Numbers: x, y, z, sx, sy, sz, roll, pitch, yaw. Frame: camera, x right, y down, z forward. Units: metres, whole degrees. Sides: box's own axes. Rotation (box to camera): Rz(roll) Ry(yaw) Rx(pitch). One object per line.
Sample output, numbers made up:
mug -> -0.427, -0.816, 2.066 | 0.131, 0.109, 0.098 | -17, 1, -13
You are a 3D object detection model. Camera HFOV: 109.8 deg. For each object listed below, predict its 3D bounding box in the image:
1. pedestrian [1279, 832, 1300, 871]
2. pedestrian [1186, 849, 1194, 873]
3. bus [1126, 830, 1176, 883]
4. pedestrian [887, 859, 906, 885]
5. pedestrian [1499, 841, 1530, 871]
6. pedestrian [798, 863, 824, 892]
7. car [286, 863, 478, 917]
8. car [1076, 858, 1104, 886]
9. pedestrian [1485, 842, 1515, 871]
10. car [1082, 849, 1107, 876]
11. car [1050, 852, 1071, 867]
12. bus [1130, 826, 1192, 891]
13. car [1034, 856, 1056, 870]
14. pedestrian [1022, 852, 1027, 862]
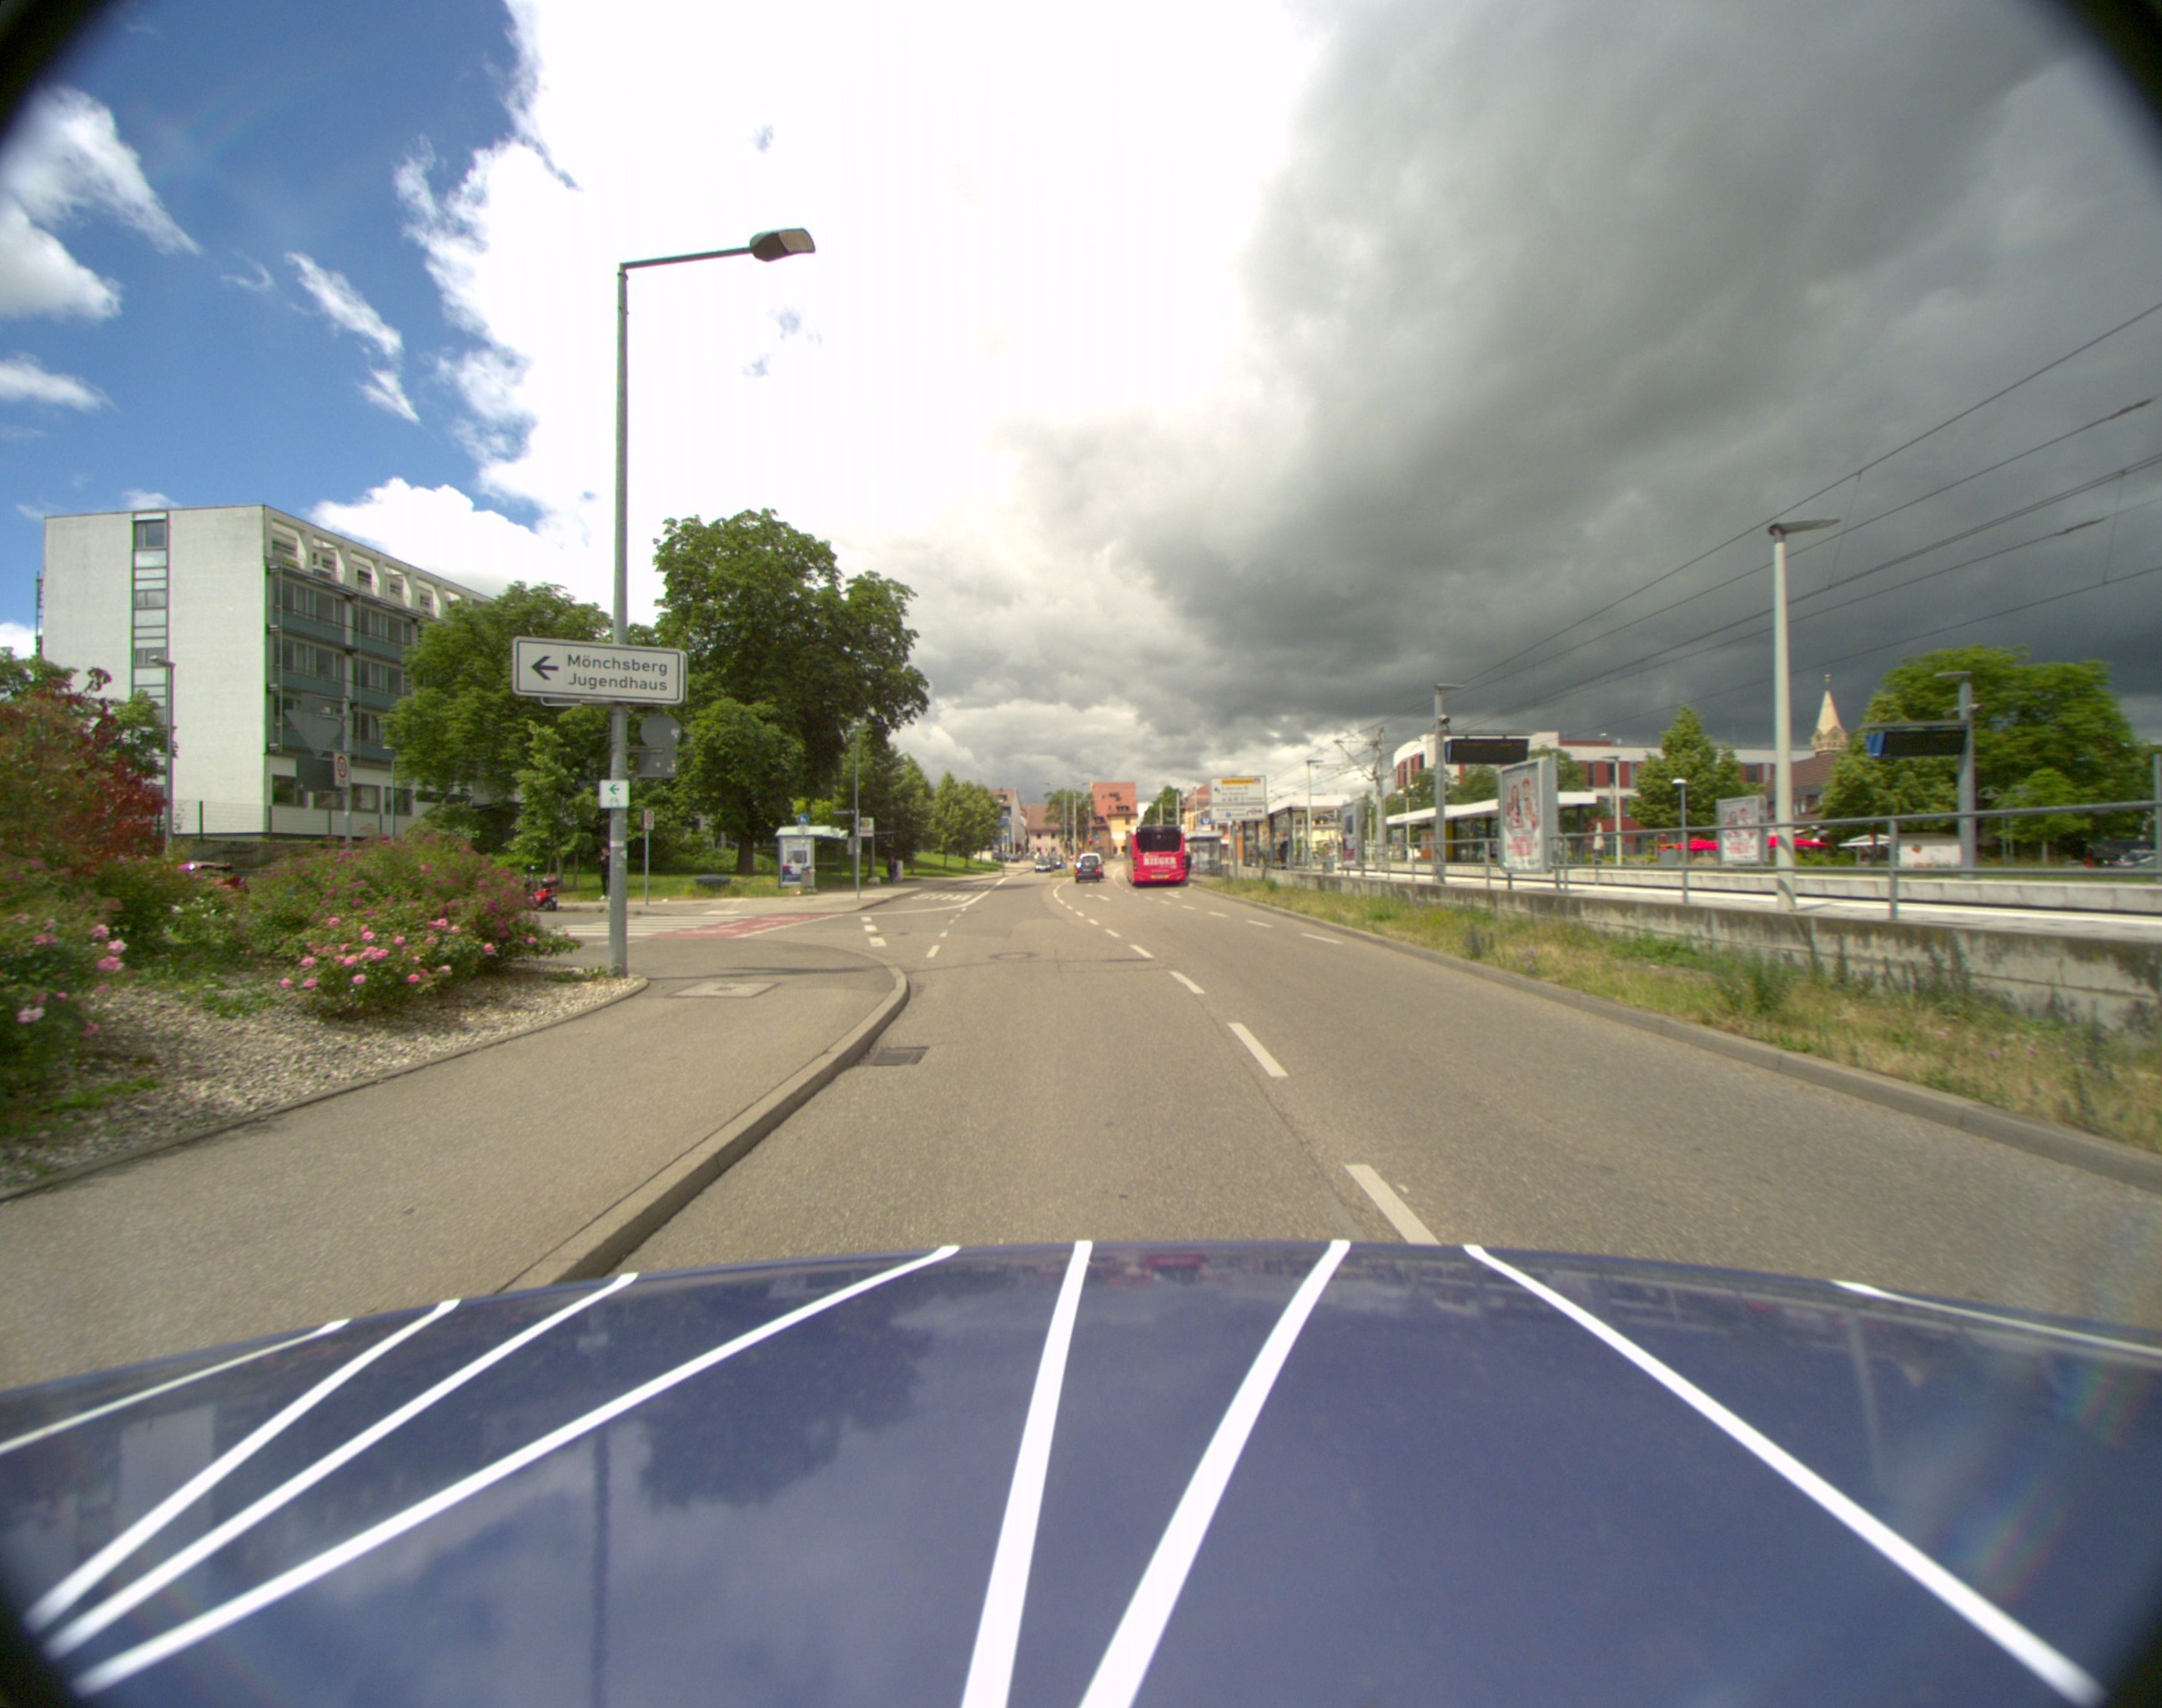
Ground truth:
pedestrian -> 9.130, -0.103, 33.308 | 0.689, 1.646, 0.701 | -1, -1, 2
pedestrian -> 6.603, 0.435, 46.113 | 0.423, 1.395, 0.408 | -1, -1, 14
bus -> 4.450, 0.113, 49.944 | 2.732, 3.091, 9.704 | -1, 0, 2
pedestrian -> -10.478, 1.006, 43.086 | 0.821, 1.416, 0.830 | 0, 1, 2
pedestrian -> 18.885, 0.072, 33.099 | 0.759, 1.284, 1.113 | 0, 0, 3
pedestrian -> -11.759, 1.036, 33.125 | 0.829, 1.251, 0.686 | 0, 0, 5
car -> -20.392, 1.039, 22.308 | 3.803, 1.448, 1.896 | 1, -1, -1
car -> 0.610, 1.083, 47.180 | 1.533, 1.542, 3.733 | -2, 0, 3
pedestrian -> 18.915, 0.106, 34.312 | 0.759, 1.284, 1.113 | 0, 0, 3
car -> 0.946, 0.671, 55.171 | 1.766, 1.652, 4.509 | 0, -4, 0
car -> -2.274, 0.632, 87.322 | 1.998, 1.639, 4.422 | -1, -2, 3
bus -> 4.085, 0.165, 40.529 | 2.732, 3.052, 8.963 | -1, 1, 2
car -> -3.788, 0.976, 79.981 | 1.882, 1.420, 4.002 | -1, -2, 2
pedestrian -> -9.496, 0.521, 127.375 | 0.754, 1.740, 0.586 | 0, 1, -26
